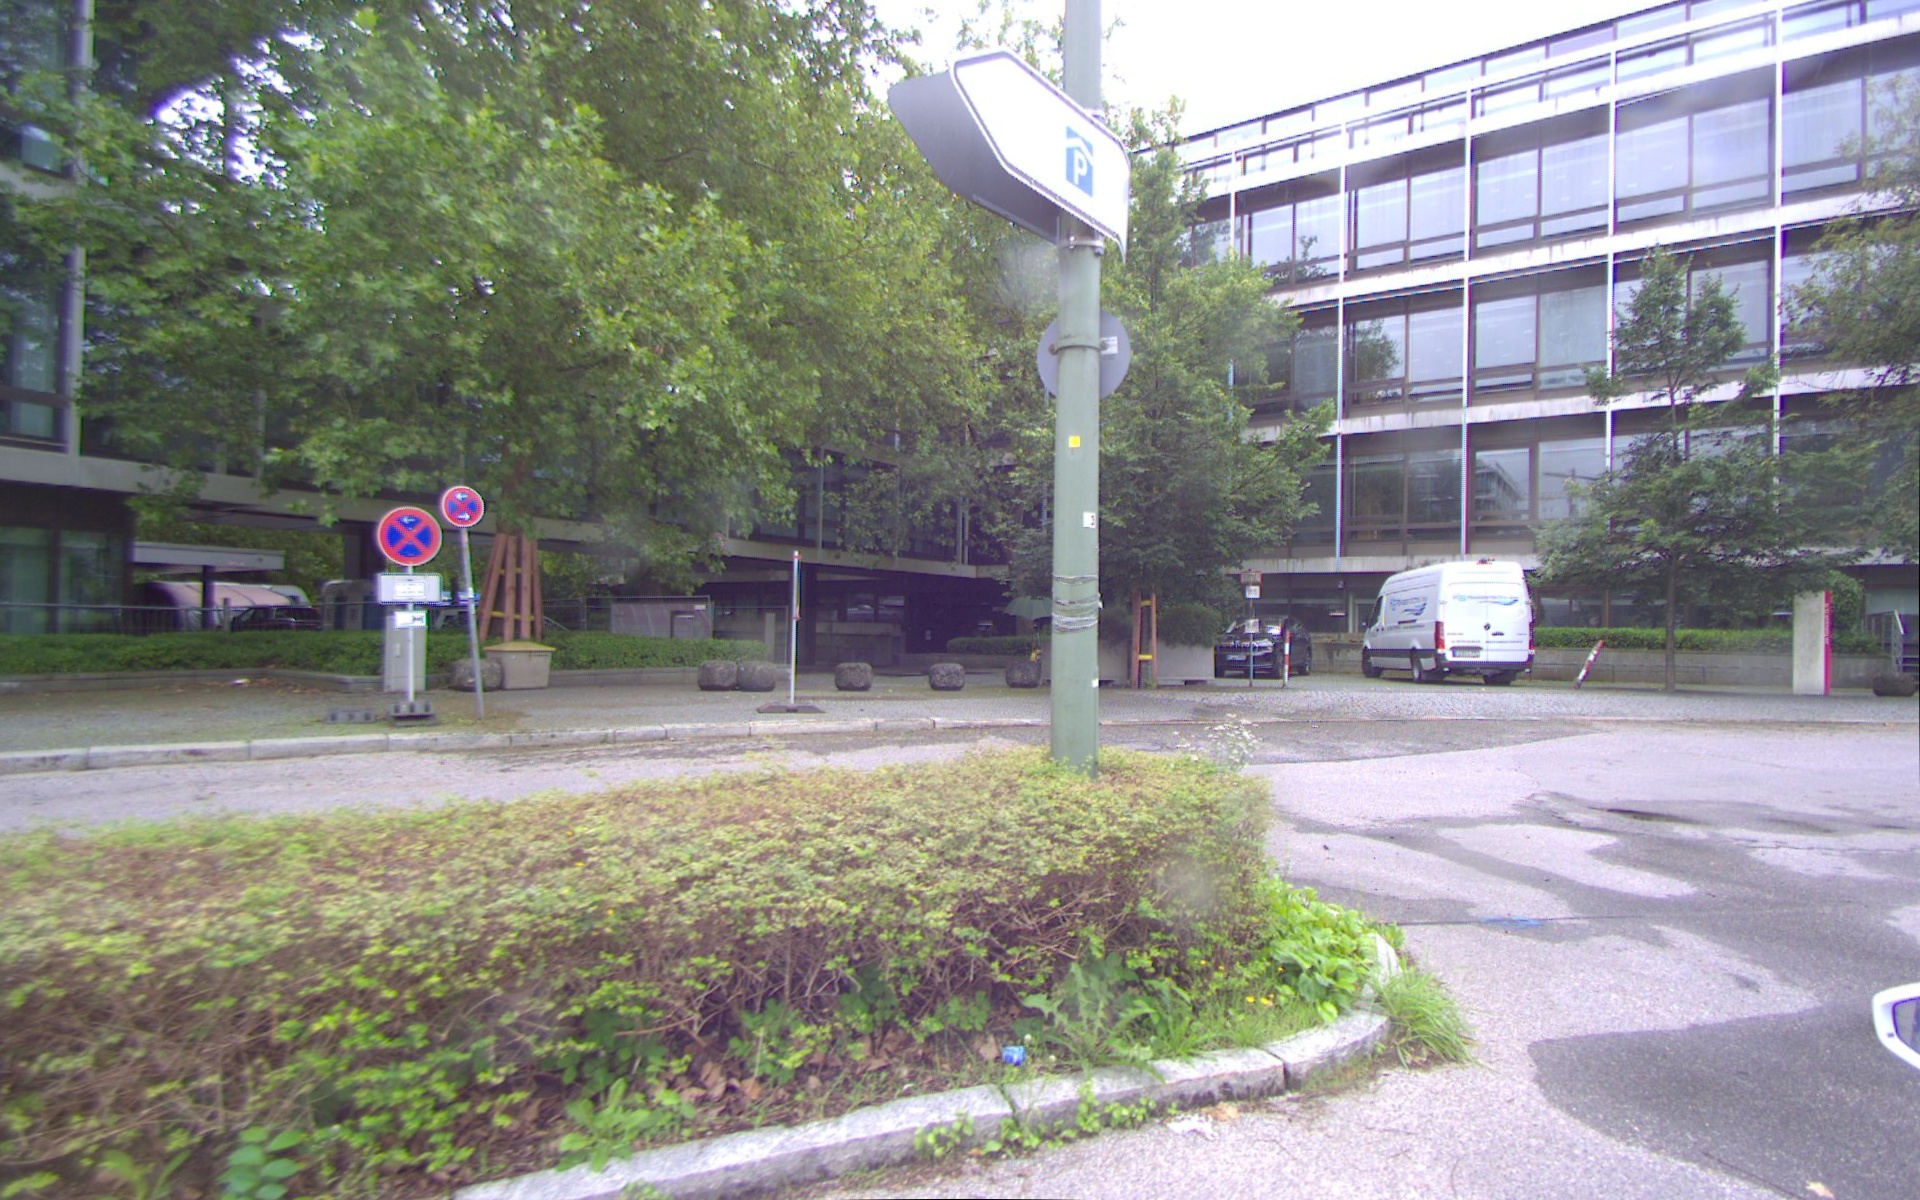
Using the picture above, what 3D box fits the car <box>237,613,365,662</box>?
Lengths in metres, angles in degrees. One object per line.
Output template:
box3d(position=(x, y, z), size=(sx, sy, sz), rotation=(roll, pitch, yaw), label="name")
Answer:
box3d(position=(-21.560, 1.192, 32.847), size=(3.790, 1.493, 1.910), rotation=(0, -1, 28), label="car")

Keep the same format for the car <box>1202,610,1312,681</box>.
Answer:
box3d(position=(8.056, 1.179, 26.992), size=(1.913, 1.744, 4.231), rotation=(0, -2, 30), label="car")

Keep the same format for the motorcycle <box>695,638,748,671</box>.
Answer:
box3d(position=(-7.780, 1.770, 32.800), size=(1.665, 1.069, 0.670), rotation=(1, -1, -16), label="motorcycle")

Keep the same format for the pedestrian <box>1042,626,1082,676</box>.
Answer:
box3d(position=(2.747, 1.366, 27.048), size=(0.914, 1.295, 0.540), rotation=(1, -1, 36), label="pedestrian")

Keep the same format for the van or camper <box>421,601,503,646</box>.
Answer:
box3d(position=(-30.082, 1.391, 60.688), size=(4.568, 2.630, 2.274), rotation=(0, -2, 30), label="van or camper")

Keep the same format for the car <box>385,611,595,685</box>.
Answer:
box3d(position=(-10.493, 1.043, 22.659), size=(1.881, 1.493, 3.848), rotation=(0, -2, 35), label="car")

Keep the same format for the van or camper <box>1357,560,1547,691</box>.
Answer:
box3d(position=(11.331, 0.681, 23.781), size=(2.119, 2.614, 6.545), rotation=(1, -3, 8), label="van or camper")
